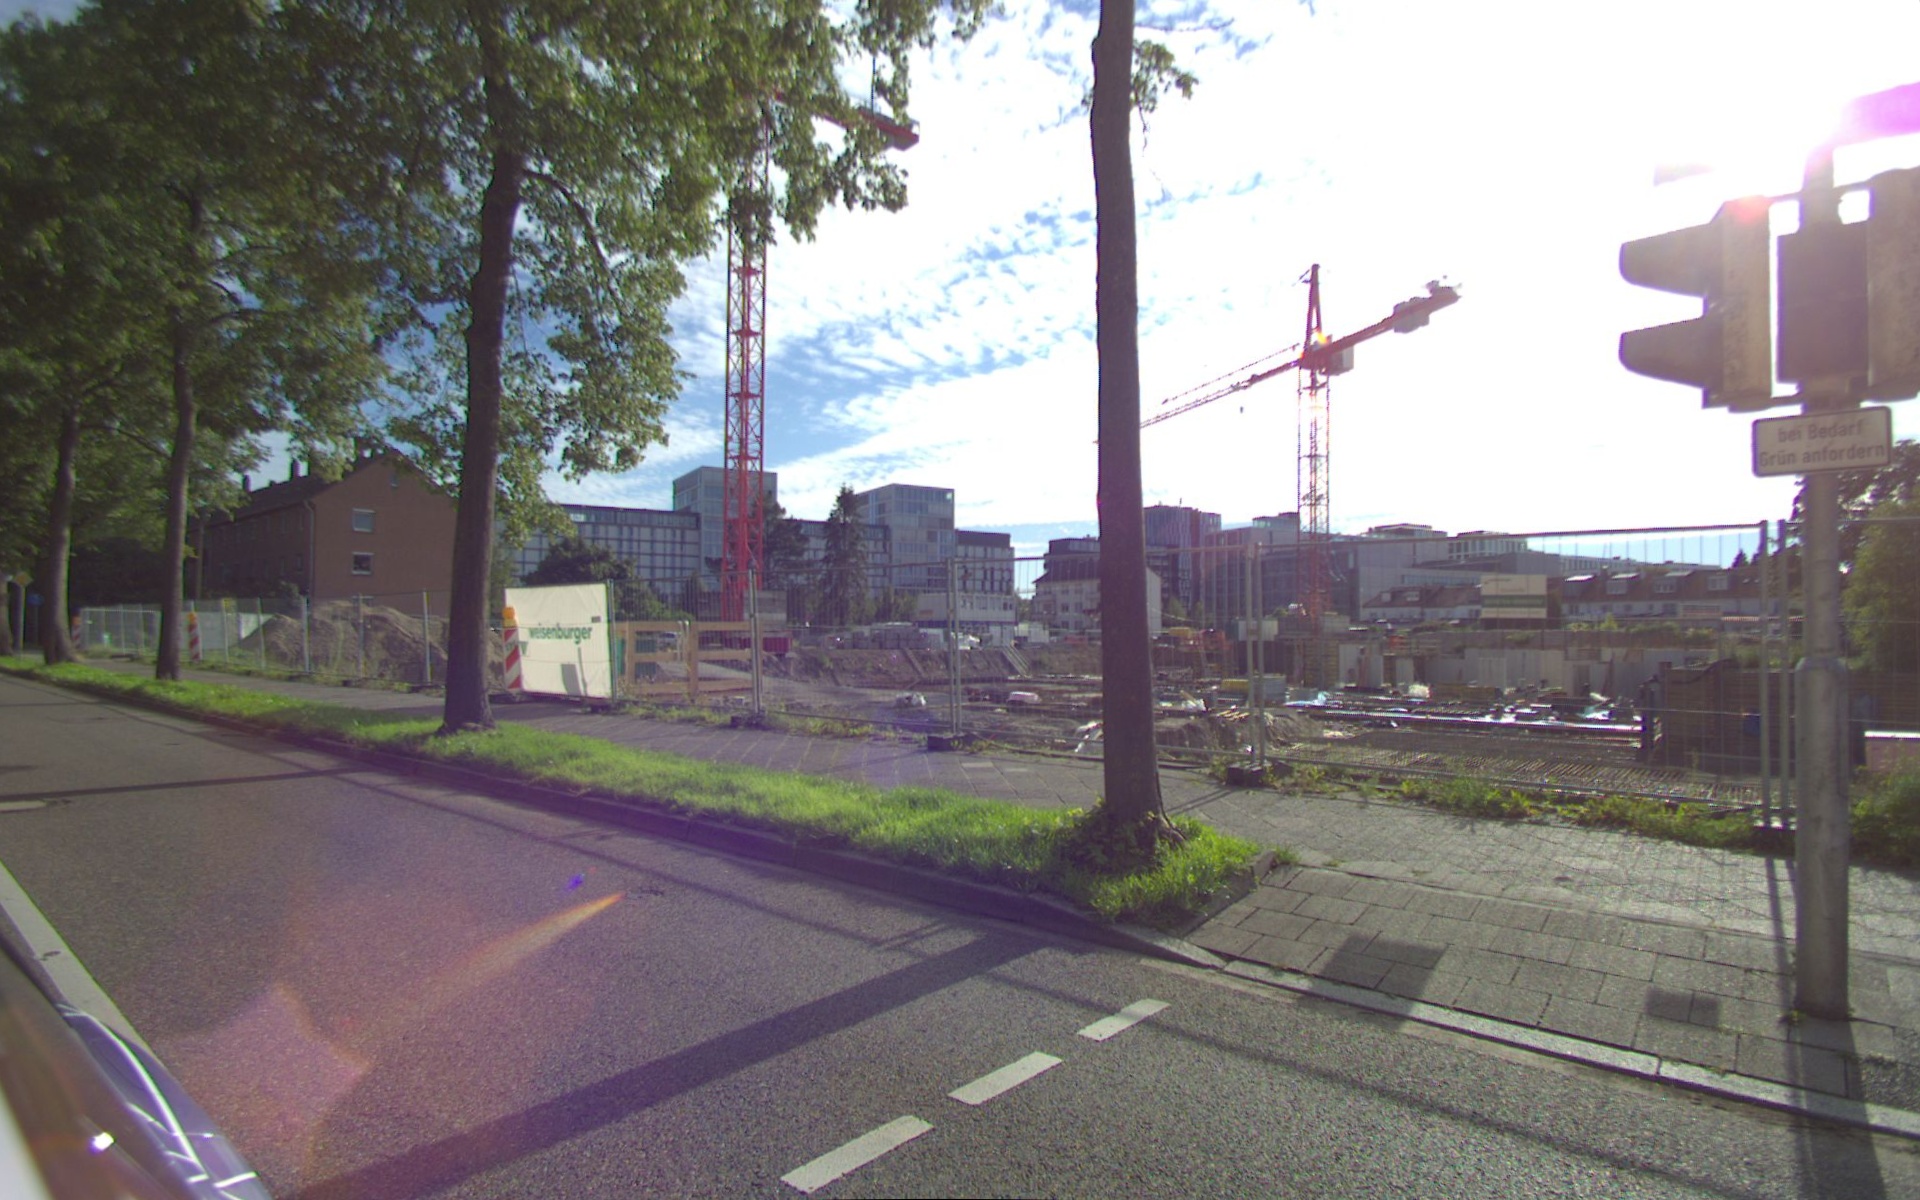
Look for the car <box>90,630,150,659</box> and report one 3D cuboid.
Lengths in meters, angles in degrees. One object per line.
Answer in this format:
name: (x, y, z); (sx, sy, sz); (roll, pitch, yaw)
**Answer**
car: (-47.156, 2.491, 56.789); (4.507, 1.439, 1.972); (0, -3, 43)
